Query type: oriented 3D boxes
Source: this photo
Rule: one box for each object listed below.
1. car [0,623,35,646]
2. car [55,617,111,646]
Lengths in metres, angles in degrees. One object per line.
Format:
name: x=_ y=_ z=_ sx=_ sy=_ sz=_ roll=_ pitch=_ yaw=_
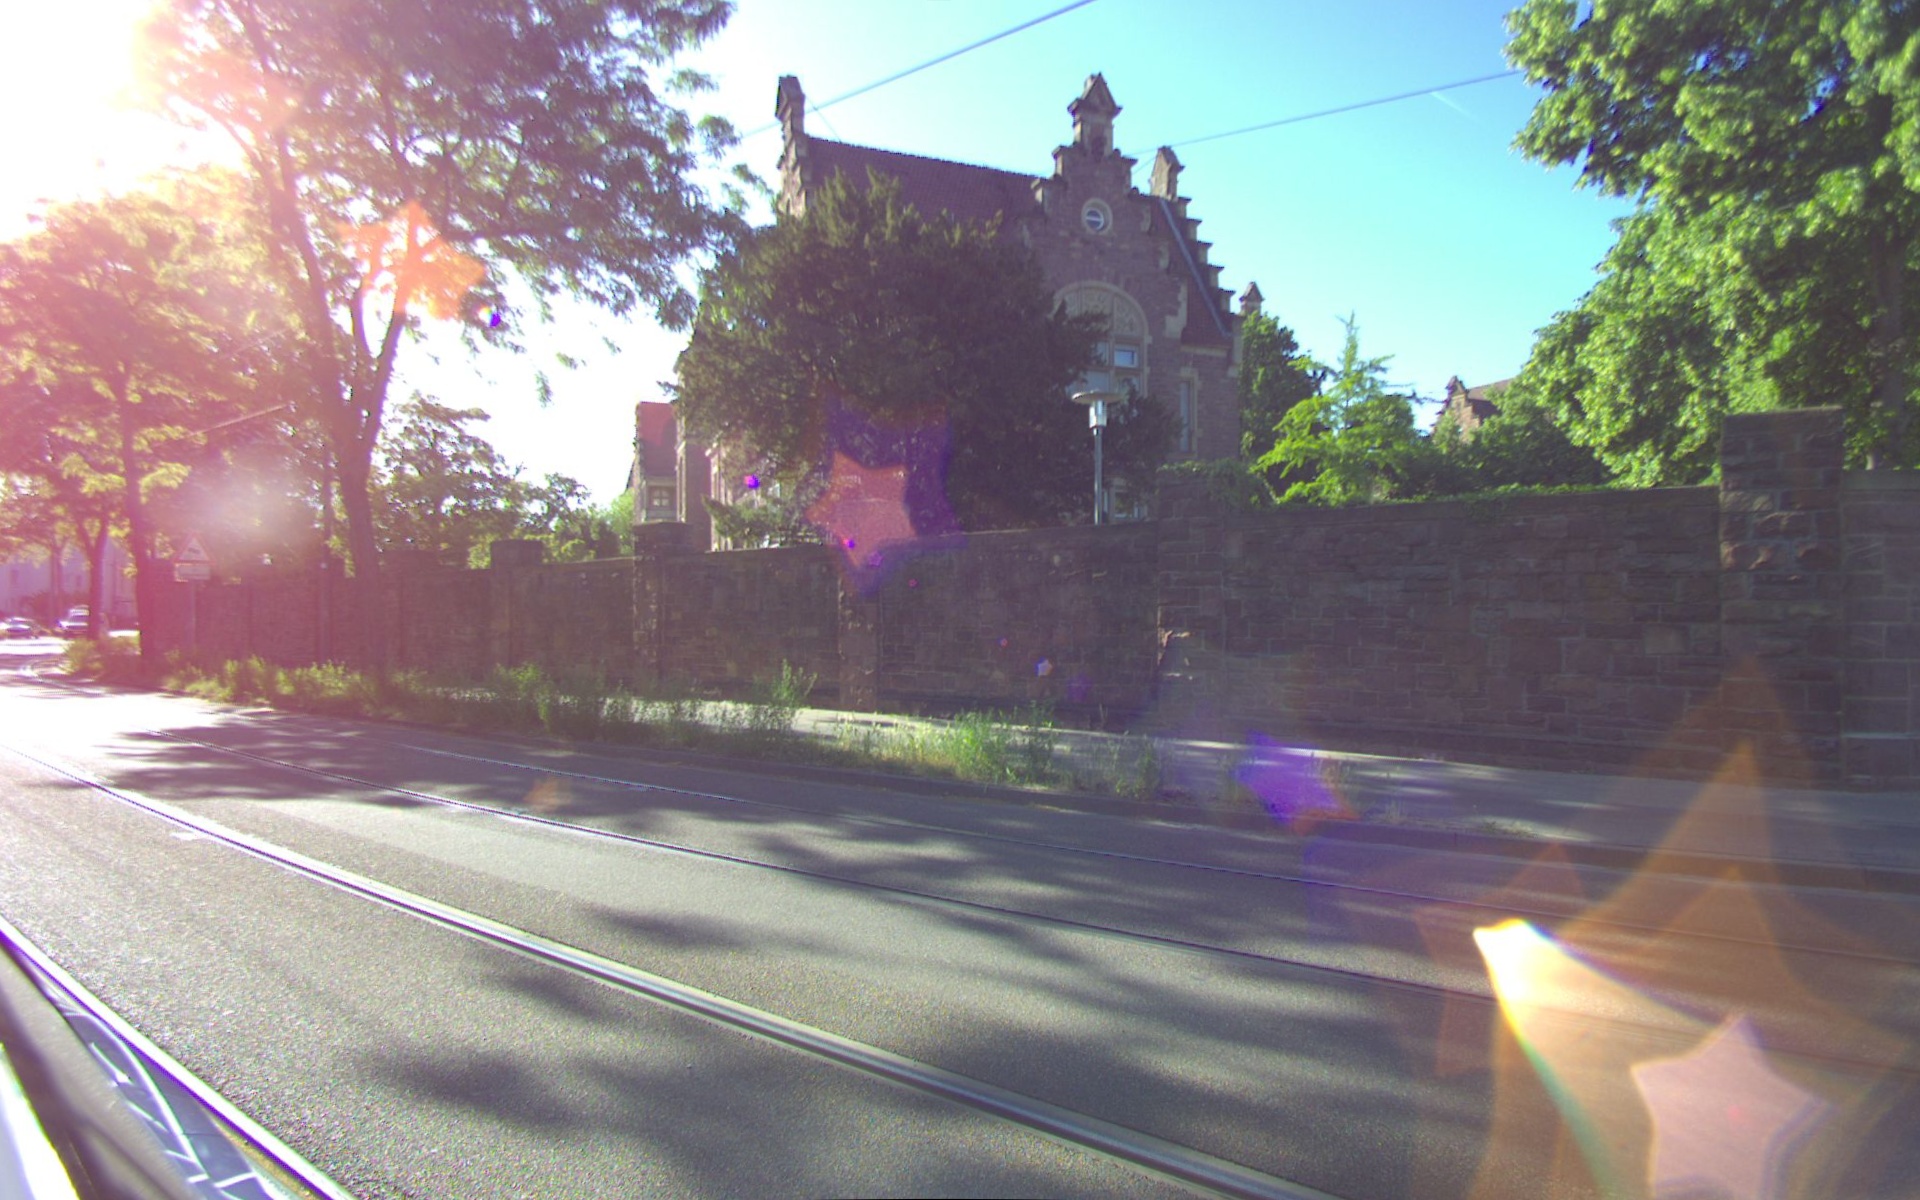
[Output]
car: x=-68.903 y=2.505 z=73.840 sx=1.969 sy=1.560 sz=4.005 roll=0 pitch=-1 yaw=-41
car: x=-58.525 y=2.067 z=67.626 sx=1.846 sy=1.830 sz=4.982 roll=0 pitch=-1 yaw=-29
